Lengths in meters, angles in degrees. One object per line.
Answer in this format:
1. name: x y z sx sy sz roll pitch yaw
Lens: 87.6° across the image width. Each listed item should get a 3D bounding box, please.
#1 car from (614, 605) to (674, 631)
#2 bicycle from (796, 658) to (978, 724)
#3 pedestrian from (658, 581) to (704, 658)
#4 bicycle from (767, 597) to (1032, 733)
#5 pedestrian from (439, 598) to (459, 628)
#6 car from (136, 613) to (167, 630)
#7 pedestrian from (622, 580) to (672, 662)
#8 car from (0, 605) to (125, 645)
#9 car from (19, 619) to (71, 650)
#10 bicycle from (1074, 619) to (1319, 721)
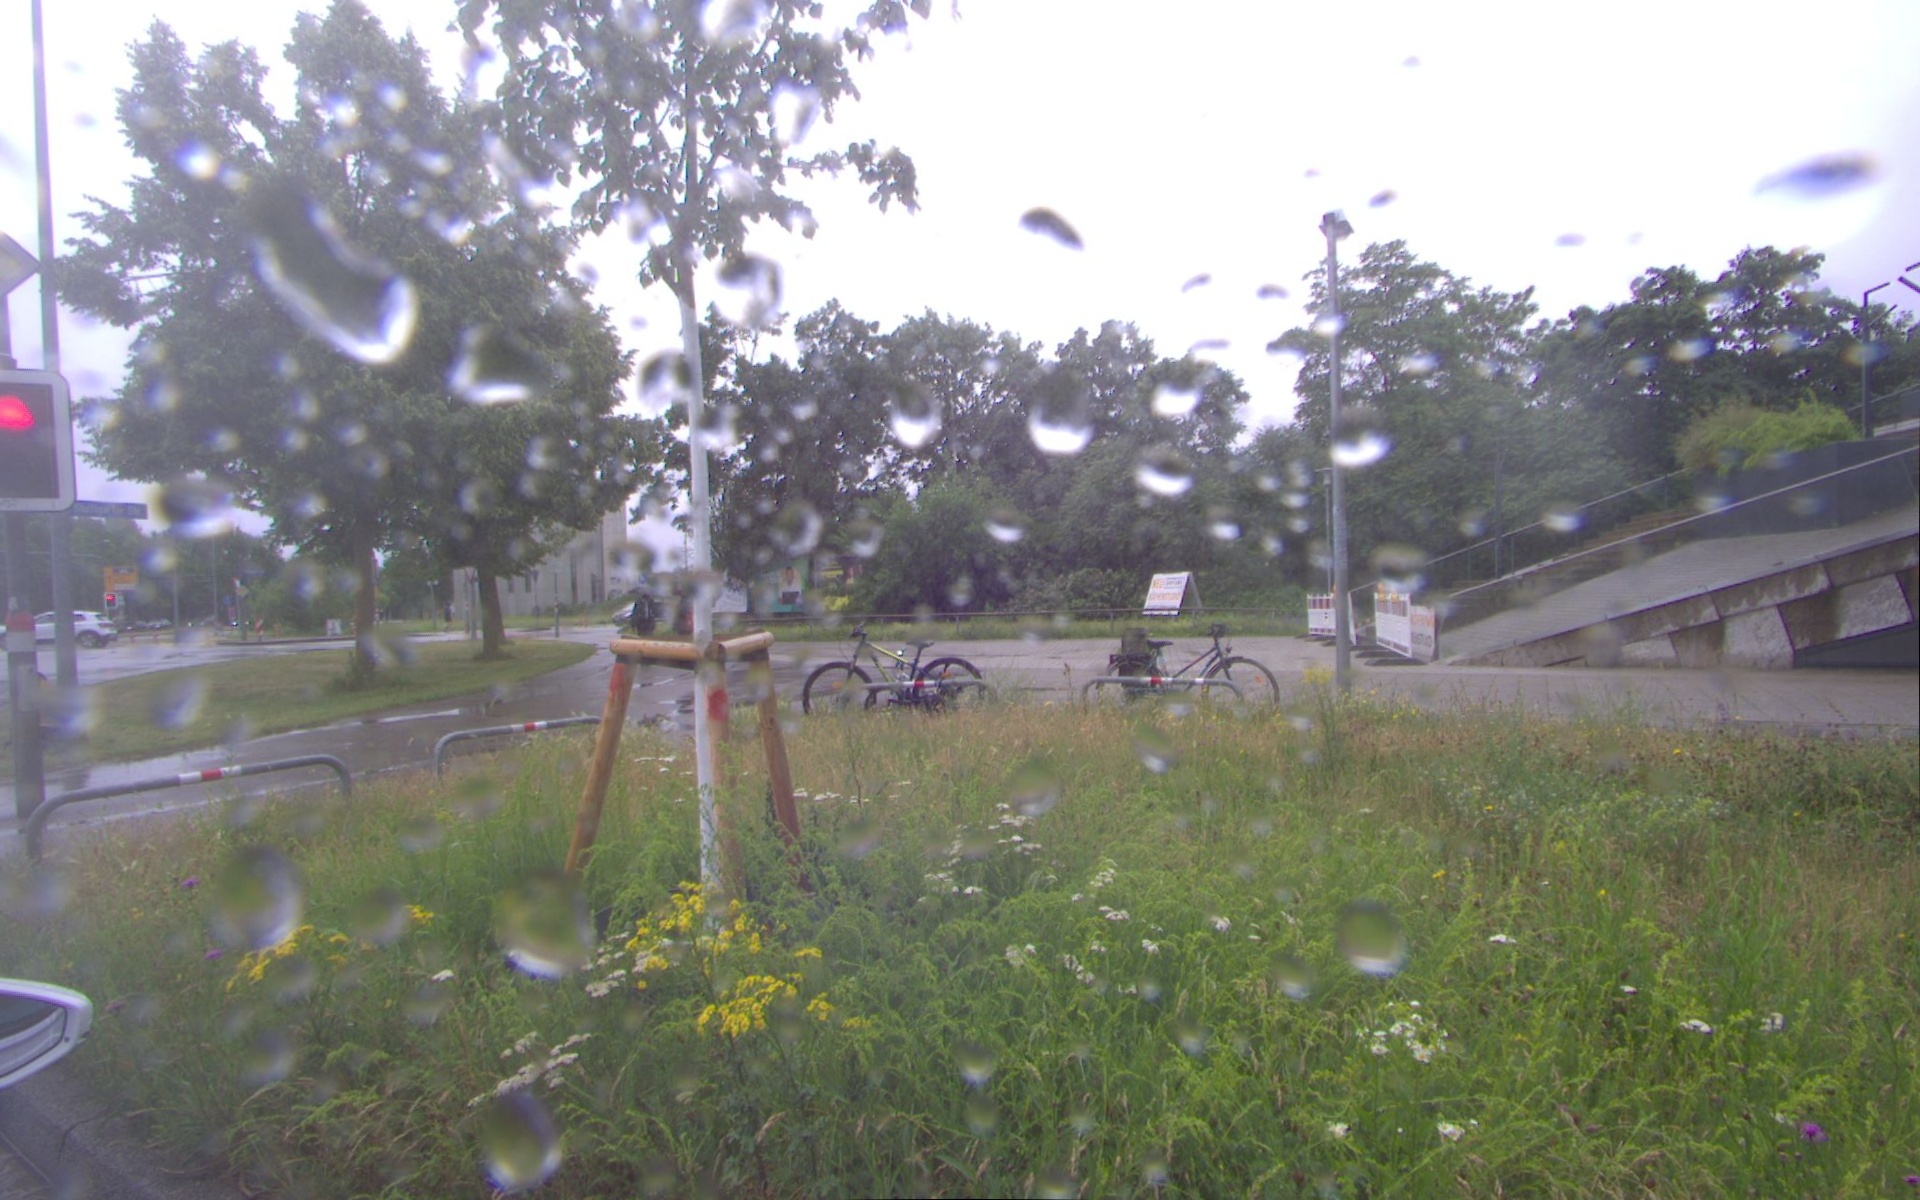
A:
1. car: -20.941 1.235 66.513 1.758 1.668 3.993 -1 -2 20
2. bicycle: -0.714 0.891 9.905 1.771 0.566 0.320 -1 1 -17
3. pedestrian: -6.632 0.474 23.841 0.906 1.807 0.808 0 -1 -3
4. bicycle: -0.566 0.583 9.619 2.480 1.205 0.552 -1 1 -17
5. pedestrian: -31.566 0.814 61.850 0.705 1.794 0.948 -1 -2 42
6. car: -95.173 2.558 117.891 1.763 2.039 3.665 0 -2 -20
7. pedestrian: -7.046 0.479 22.592 0.906 1.807 0.808 0 -1 -3
8. car: -38.528 1.094 42.935 3.889 1.668 1.679 1 -2 -28
9. car: -47.914 1.802 52.428 3.214 1.512 1.680 0 1 42
10. bicycle: 2.168 0.615 9.296 2.130 0.858 0.634 -1 0 27
